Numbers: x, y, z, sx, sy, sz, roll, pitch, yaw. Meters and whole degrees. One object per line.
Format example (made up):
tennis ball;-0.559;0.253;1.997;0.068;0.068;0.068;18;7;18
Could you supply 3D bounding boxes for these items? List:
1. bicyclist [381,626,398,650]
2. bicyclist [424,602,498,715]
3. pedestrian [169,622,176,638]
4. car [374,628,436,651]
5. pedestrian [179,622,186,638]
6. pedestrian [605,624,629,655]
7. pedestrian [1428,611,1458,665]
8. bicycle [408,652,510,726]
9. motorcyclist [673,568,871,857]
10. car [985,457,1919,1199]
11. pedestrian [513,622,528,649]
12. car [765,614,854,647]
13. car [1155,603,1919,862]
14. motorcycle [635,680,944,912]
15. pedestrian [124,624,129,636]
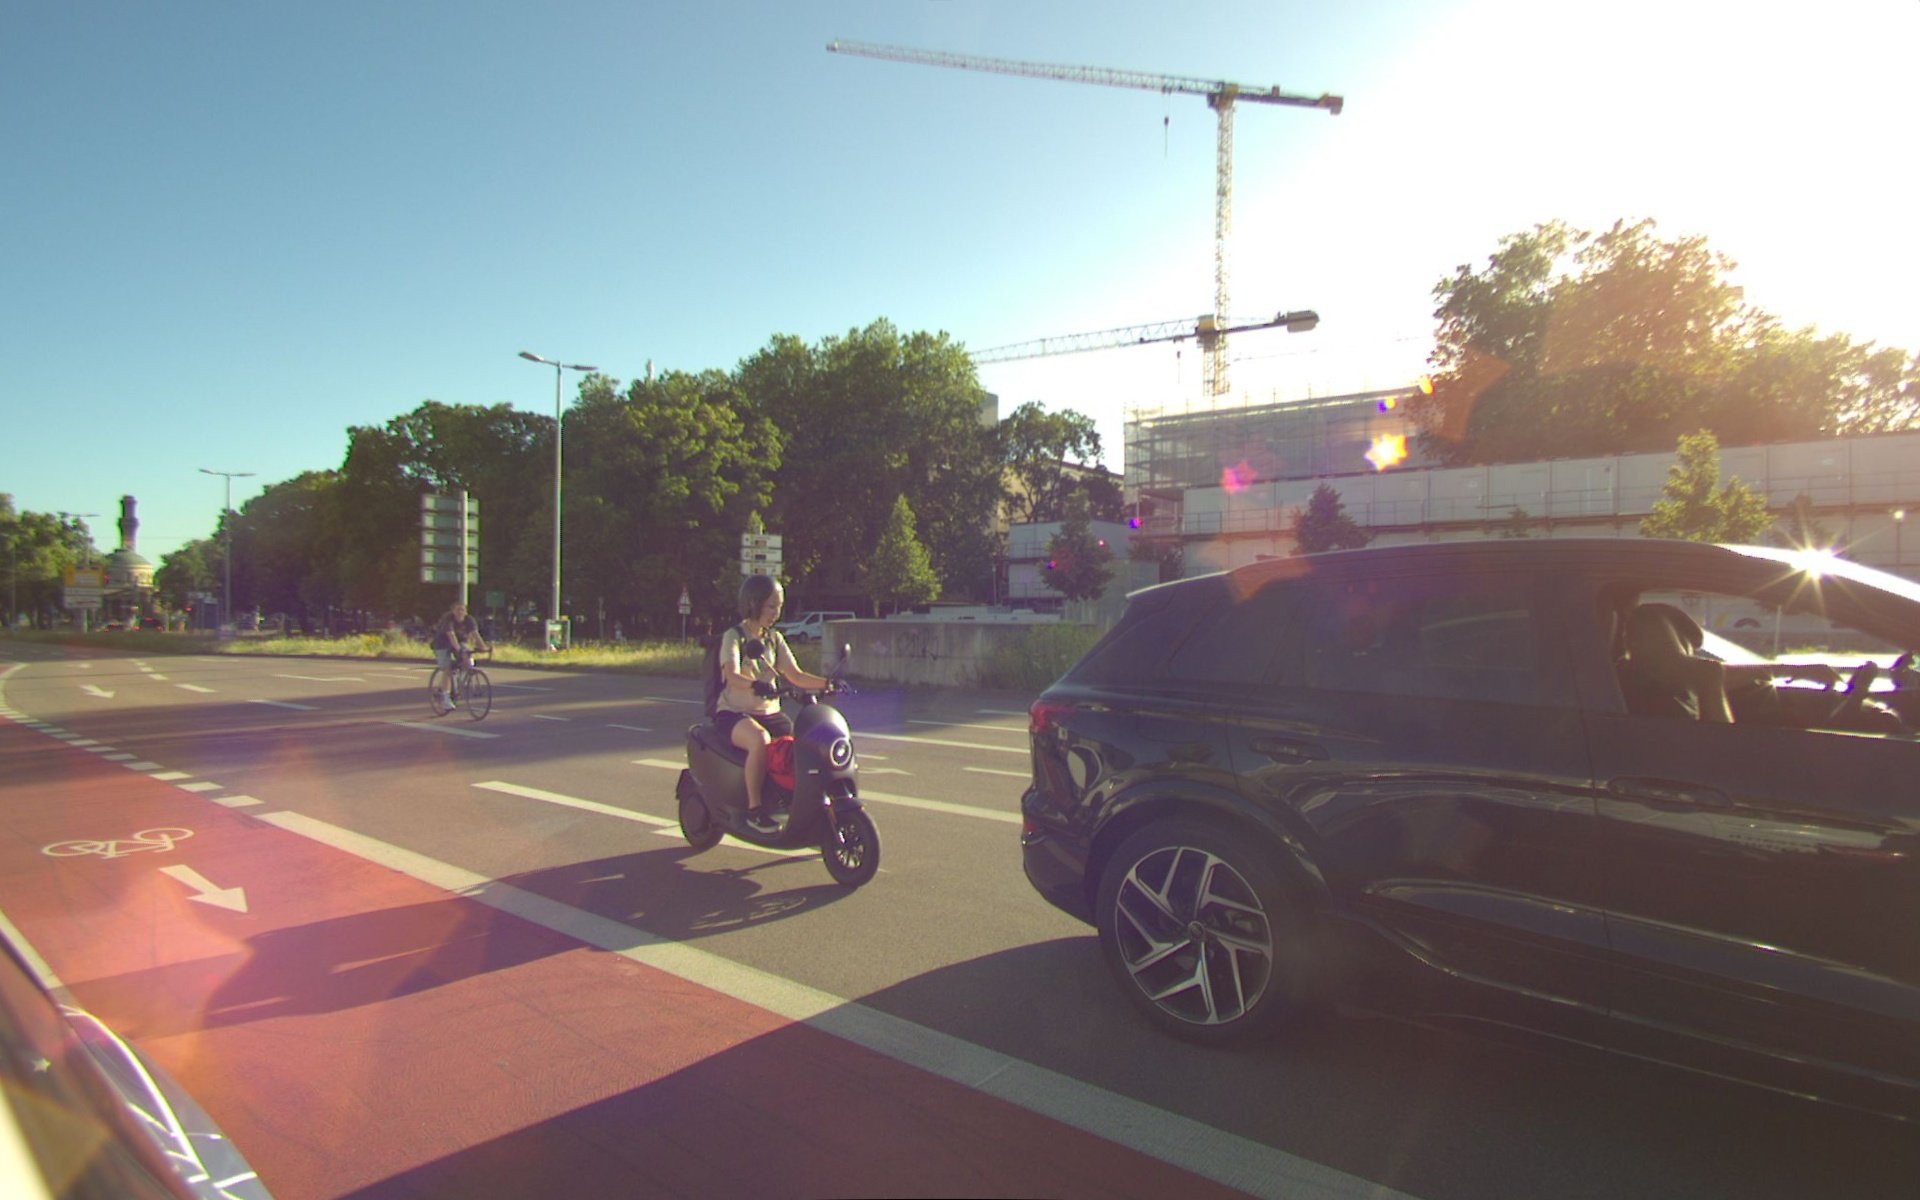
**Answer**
bicyclist;-33.415;2.210;59.273;0.768;1.377;0.609;-1;-2;41
bicyclist;-6.951;0.794;14.092;0.937;1.515;0.616;-1;-1;42
pedestrian;-96.669;3.685;124.237;0.594;2.029;0.519;-1;-2;38
car;-29.363;2.084;53.482;3.767;1.141;1.598;-1;-1;40
pedestrian;-96.131;3.683;125.131;0.594;2.029;0.519;-1;-2;38
pedestrian;-20.544;2.356;60.633;0.964;1.796;0.984;-1;0;41
pedestrian;15.541;1.208;32.555;0.654;1.693;0.829;-1;-2;41
bicycle;-7.021;1.210;14.139;1.910;0.915;0.616;-1;-1;42
motorcyclist;-1.087;0.589;5.822;0.746;1.495;0.882;0;-1;-45
car;2.623;0.549;3.113;4.786;1.675;2.172;-1;-2;39
pedestrian;-28.489;2.311;65.562;0.697;1.740;0.656;-1;-2;41
car;-9.116;1.848;61.698;2.000;1.906;5.256;-2;-3;42
car;3.884;0.732;7.483;4.522;1.362;1.753;-1;-1;40
motorcycle;-1.041;1.006;5.769;0.746;0.976;1.961;0;-1;-45
pedestrian;-109.540;3.913;132.993;0.499;1.570;0.437;-1;-2;41
